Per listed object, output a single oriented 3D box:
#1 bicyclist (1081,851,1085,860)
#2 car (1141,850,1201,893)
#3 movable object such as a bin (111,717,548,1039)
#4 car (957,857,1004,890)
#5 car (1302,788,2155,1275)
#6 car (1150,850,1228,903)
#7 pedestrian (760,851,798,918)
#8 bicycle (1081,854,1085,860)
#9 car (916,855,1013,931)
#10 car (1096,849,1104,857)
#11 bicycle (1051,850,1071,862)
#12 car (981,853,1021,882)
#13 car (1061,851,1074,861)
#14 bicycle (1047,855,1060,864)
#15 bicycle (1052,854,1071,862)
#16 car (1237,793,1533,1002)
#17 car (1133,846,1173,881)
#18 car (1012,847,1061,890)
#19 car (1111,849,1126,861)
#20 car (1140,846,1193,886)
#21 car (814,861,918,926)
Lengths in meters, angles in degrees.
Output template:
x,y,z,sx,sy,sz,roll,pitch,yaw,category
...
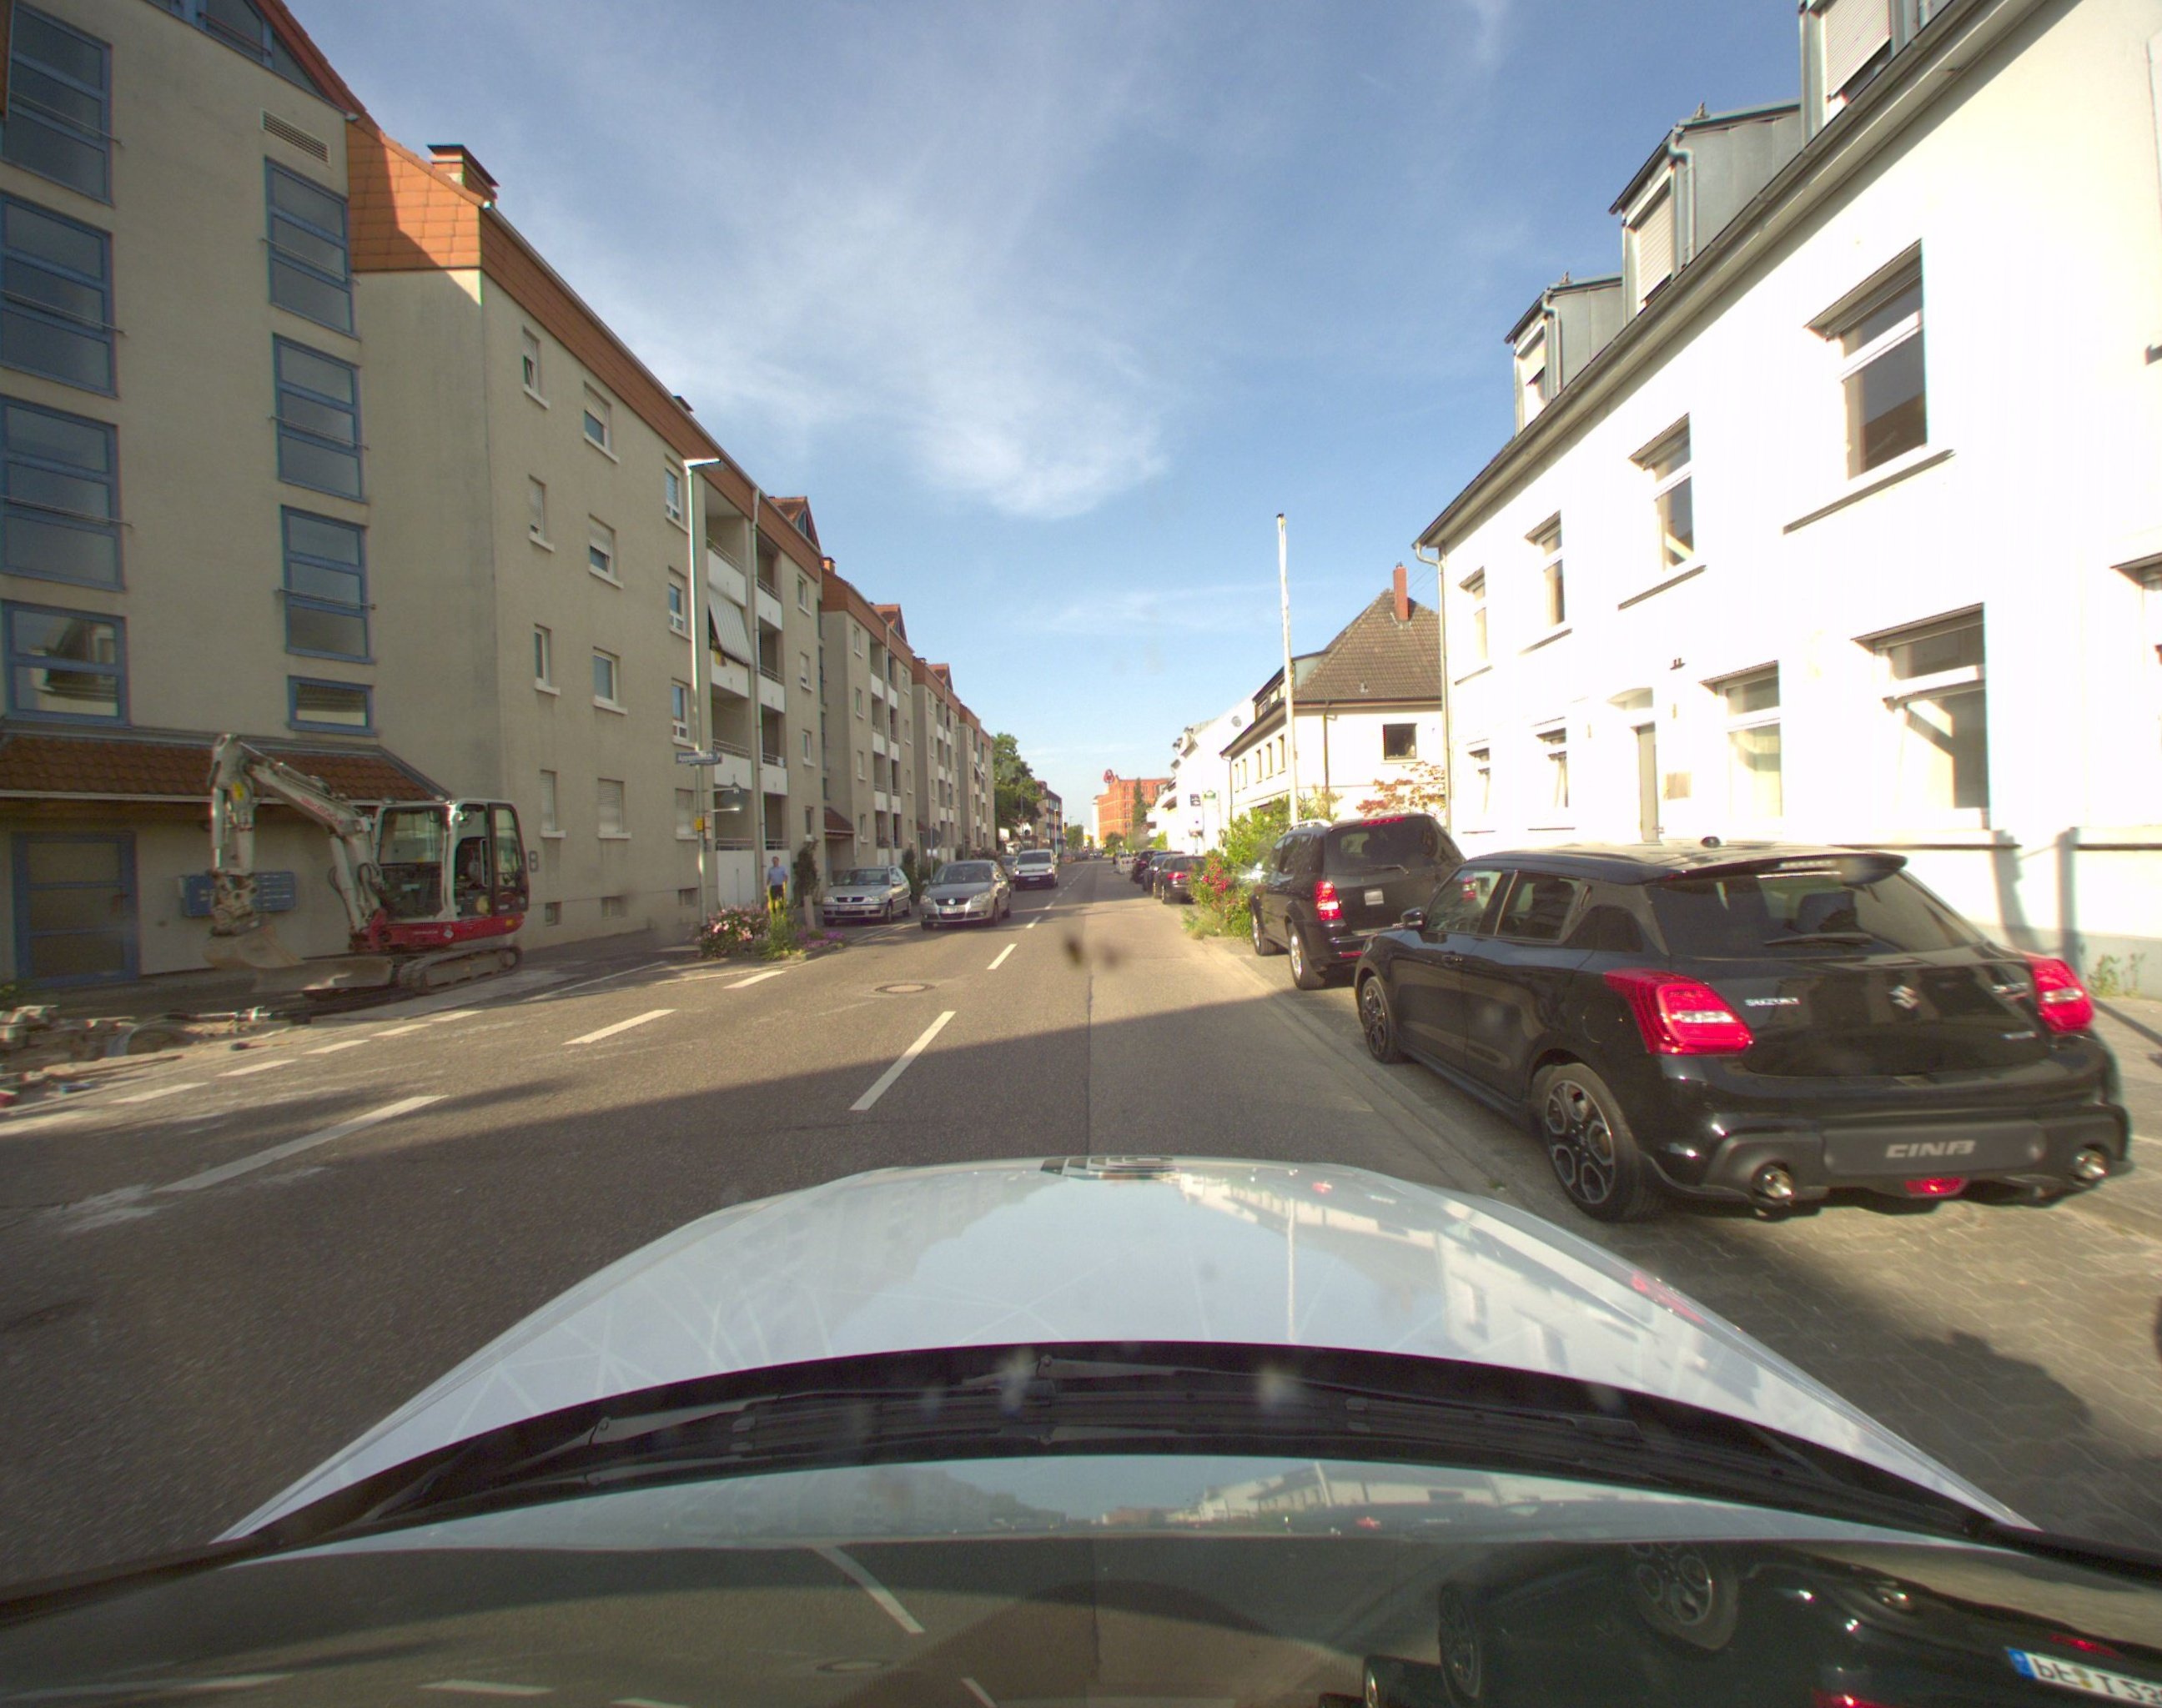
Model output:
x,y,z,sx,sy,sz,roll,pitch,yaw,category
0.296,0.175,134.436,0.588,1.442,0.751,-2,0,2,bicyclist
3.296,0.605,30.612,1.823,1.420,4.610,-2,0,1,car
-8.753,0.212,10.062,1.642,3.138,3.899,-2,1,0,movable object such as a bin
-4.792,0.906,39.159,1.680,1.405,4.084,-1,0,0,car
2.782,0.594,5.022,1.583,1.528,4.614,-3,0,1,car
3.180,0.608,24.798,1.773,1.420,4.496,-2,0,0,car
-8.402,0.846,22.700,0.716,1.818,0.745,-1,0,1,pedestrian
0.315,0.567,134.398,0.606,0.942,1.812,-2,0,2,bicycle
-2.567,0.809,18.666,1.612,1.455,3.685,-3,0,0,car
4.290,-0.218,186.883,1.757,1.616,4.001,-3,0,1,car
-2.944,0.281,120.610,2.906,1.777,1.203,-2,0,2,bicycle
-4.579,0.747,47.308,1.719,1.555,3.968,-1,0,3,car
-2.086,0.356,130.289,1.833,1.464,3.586,-2,0,2,car
-3.578,0.712,105.368,1.582,1.041,0.707,-2,0,-4,bicycle
-2.882,0.574,122.382,2.762,1.144,1.144,-2,0,2,bicycle
3.289,0.376,9.956,2.067,1.856,4.615,-3,1,3,car
3.580,0.507,41.065,1.822,1.630,4.465,0,-1,2,car
-2.003,0.614,37.590,1.916,1.767,4.338,-2,0,0,car
4.860,0.149,105.023,1.852,1.472,4.001,0,0,1,car
3.677,0.479,35.803,1.824,1.560,4.317,-3,0,0,car
-5.325,0.930,20.601,1.635,1.395,3.670,-1,0,0,car
